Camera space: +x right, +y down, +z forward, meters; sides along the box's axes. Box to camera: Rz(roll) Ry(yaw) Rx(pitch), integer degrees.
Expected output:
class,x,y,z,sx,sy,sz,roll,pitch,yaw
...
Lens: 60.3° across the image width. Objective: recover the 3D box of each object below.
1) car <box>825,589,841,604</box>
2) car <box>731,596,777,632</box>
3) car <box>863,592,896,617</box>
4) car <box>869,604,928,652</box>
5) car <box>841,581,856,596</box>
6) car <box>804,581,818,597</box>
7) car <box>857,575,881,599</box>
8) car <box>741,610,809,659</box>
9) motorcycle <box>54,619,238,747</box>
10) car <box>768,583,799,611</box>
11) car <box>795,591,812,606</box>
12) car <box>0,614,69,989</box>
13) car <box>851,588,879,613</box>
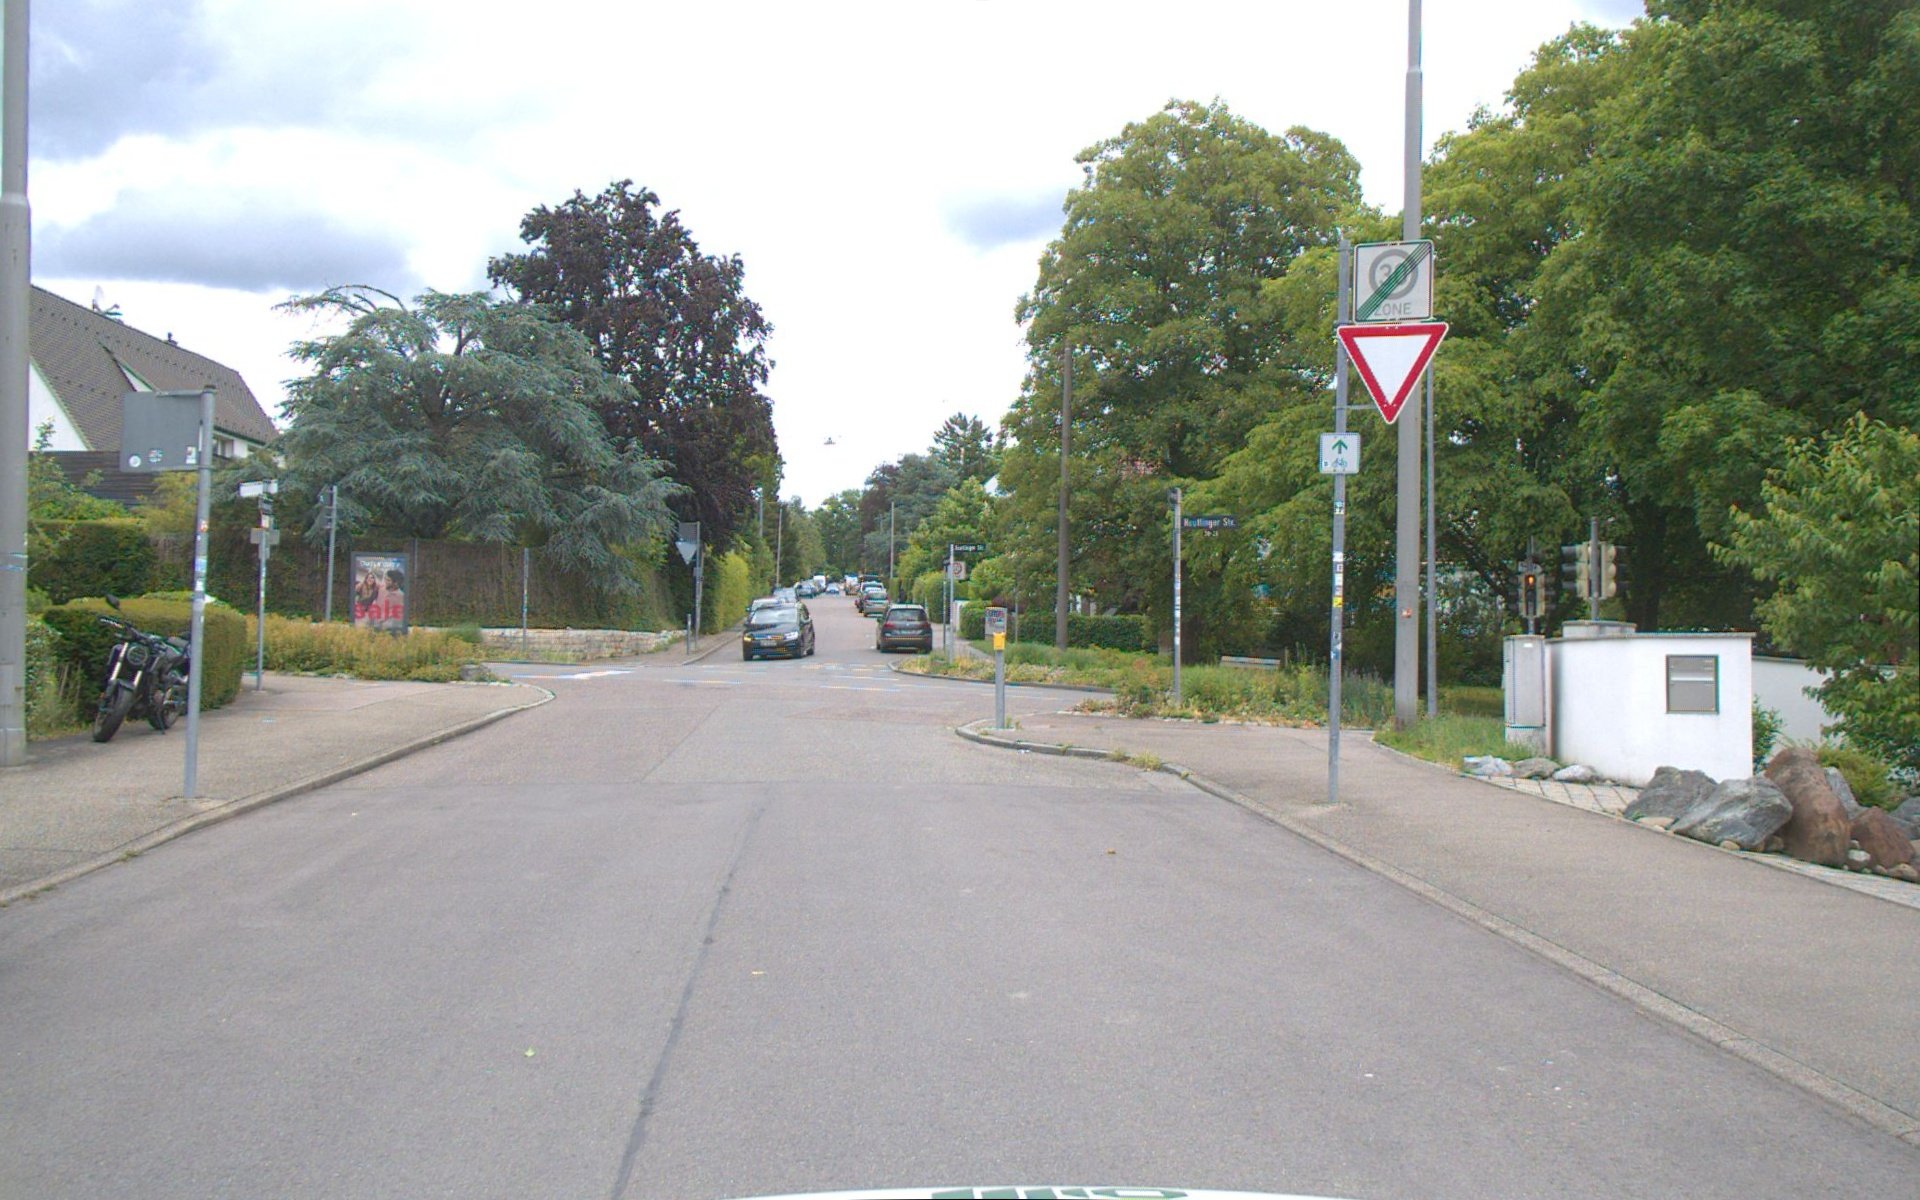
class,x,y,z,sx,sy,sz,roll,pitch,yaw
car,-17.273,-0.440,224.699,1.955,1.914,3.996,2,0,-5
car,-9.383,0.624,75.516,1.677,1.613,3.999,1,0,-2
car,-4.867,0.263,99.441,1.775,1.359,3.629,2,1,-5
car,-2.107,0.919,56.045,1.744,1.515,3.995,2,0,-5
car,-13.151,-1.410,195.045,1.602,1.731,3.491,1,0,-5
car,-18.956,-1.363,210.520,1.782,1.914,3.996,2,0,-5
car,-6.622,-0.951,120.401,1.602,1.731,3.491,1,0,-5
car,-5.603,1.029,50.410,1.693,1.432,3.803,0,0,-1
motorcycle,-8.033,0.778,16.477,0.715,1.136,2.621,1,0,-5
car,-10.950,-0.189,102.920,1.677,1.613,3.998,1,1,-3
car,-15.468,-0.179,163.624,1.595,1.410,3.594,2,0,-5
car,-5.800,0.783,6.378,3.902,1.469,1.828,1,1,12
car,-6.207,0.031,108.291,1.754,1.556,3.732,1,0,-3
